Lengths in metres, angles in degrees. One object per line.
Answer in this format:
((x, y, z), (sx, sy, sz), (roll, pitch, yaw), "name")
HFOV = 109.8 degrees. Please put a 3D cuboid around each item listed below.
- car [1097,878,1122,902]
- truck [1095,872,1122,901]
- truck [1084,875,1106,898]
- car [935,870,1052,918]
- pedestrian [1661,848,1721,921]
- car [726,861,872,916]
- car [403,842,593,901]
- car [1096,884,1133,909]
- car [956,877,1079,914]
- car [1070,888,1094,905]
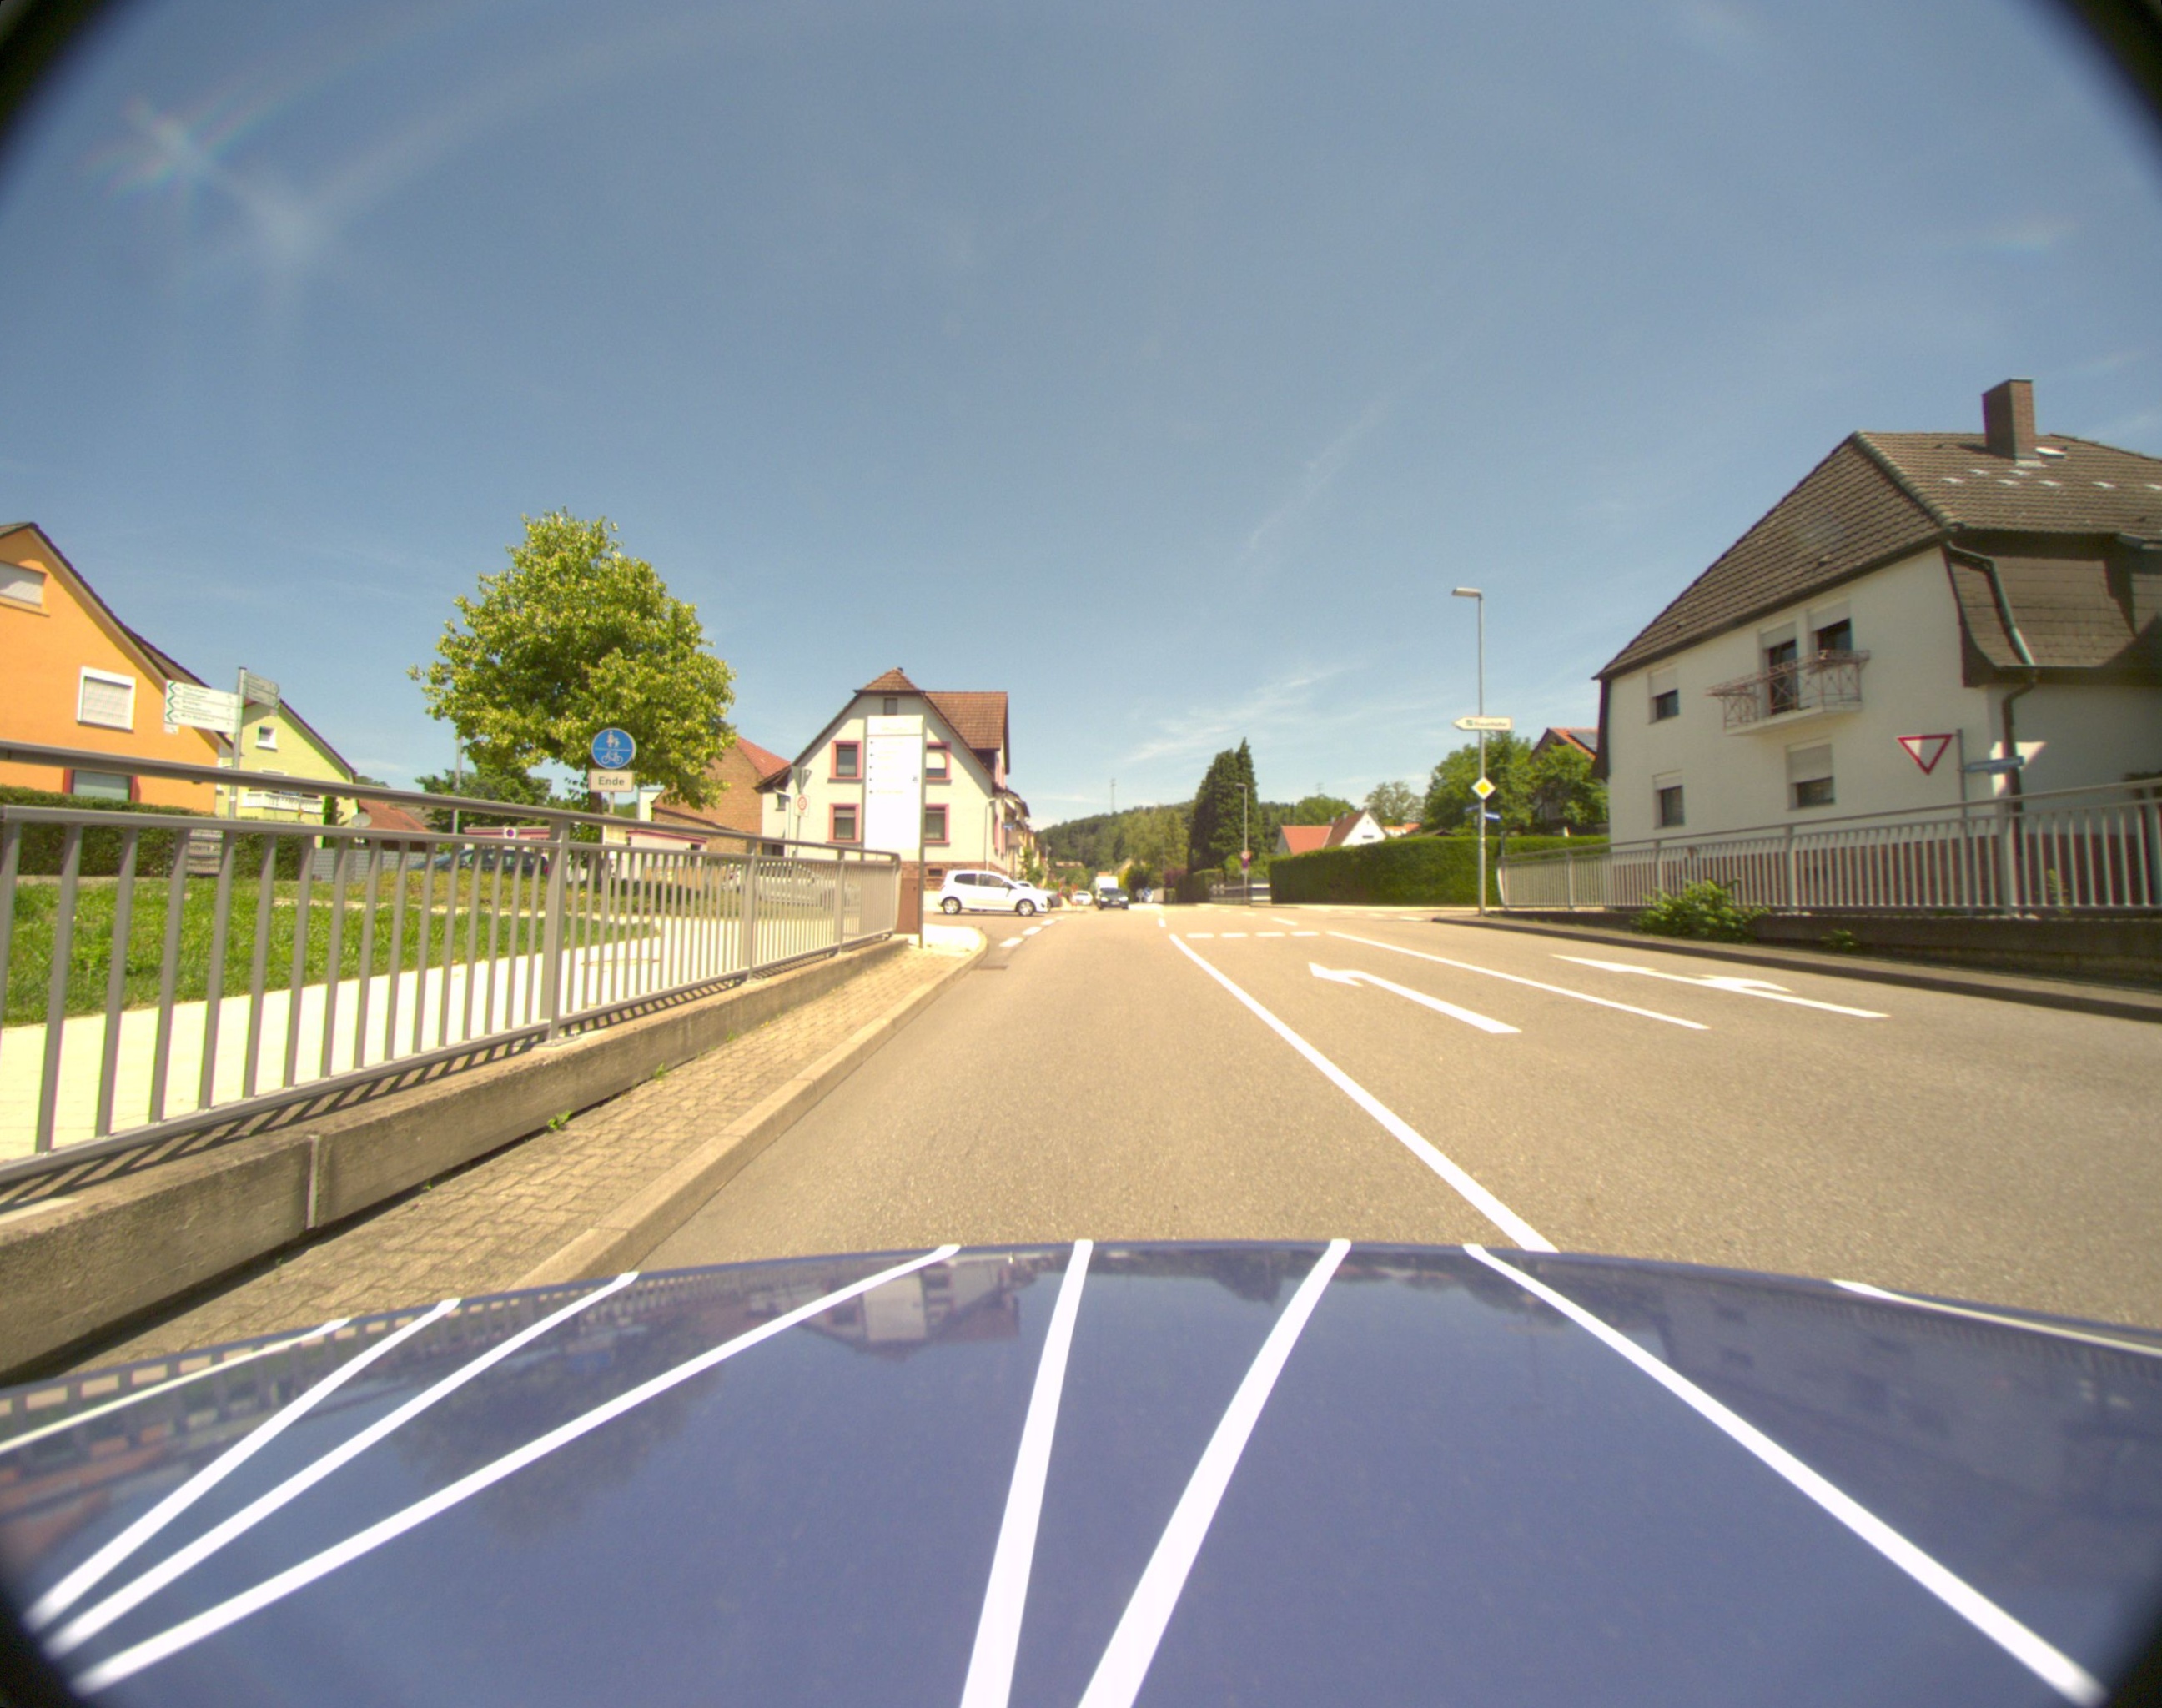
((2.417, 3.141, 66.531), (1.998, 2.001, 4.550), (-2, -2, 0), "car")
((3.299, 4.082, 93.964), (3.149, 3.465, 8.277), (-1, -3, 1), "truck")
((2.164, 5.165, 118.408), (3.149, 3.464, 8.276), (-1, -3, 0), "truck")
((-2.863, 1.303, 25.187), (3.681, 1.469, 1.775), (1, -2, -6), "car")
((14.853, 0.726, 18.528), (0.729, 1.719, 0.856), (-2, 0, -2), "pedestrian")
((-8.825, 1.089, 24.093), (4.130, 1.526, 1.773), (3, -2, -18), "car")
((-17.375, 0.604, 22.928), (1.865, 1.579, 4.165), (-2, -3, 19), "car")
((2.063, 2.702, 47.712), (1.864, 1.440, 4.001), (-2, -3, -3), "car")
((-2.386, 1.571, 28.697), (4.164, 1.296, 1.908), (2, -3, -28), "car")
((0.122, 4.160, 74.452), (1.998, 1.509, 4.148), (4, -3, 4), "car")
